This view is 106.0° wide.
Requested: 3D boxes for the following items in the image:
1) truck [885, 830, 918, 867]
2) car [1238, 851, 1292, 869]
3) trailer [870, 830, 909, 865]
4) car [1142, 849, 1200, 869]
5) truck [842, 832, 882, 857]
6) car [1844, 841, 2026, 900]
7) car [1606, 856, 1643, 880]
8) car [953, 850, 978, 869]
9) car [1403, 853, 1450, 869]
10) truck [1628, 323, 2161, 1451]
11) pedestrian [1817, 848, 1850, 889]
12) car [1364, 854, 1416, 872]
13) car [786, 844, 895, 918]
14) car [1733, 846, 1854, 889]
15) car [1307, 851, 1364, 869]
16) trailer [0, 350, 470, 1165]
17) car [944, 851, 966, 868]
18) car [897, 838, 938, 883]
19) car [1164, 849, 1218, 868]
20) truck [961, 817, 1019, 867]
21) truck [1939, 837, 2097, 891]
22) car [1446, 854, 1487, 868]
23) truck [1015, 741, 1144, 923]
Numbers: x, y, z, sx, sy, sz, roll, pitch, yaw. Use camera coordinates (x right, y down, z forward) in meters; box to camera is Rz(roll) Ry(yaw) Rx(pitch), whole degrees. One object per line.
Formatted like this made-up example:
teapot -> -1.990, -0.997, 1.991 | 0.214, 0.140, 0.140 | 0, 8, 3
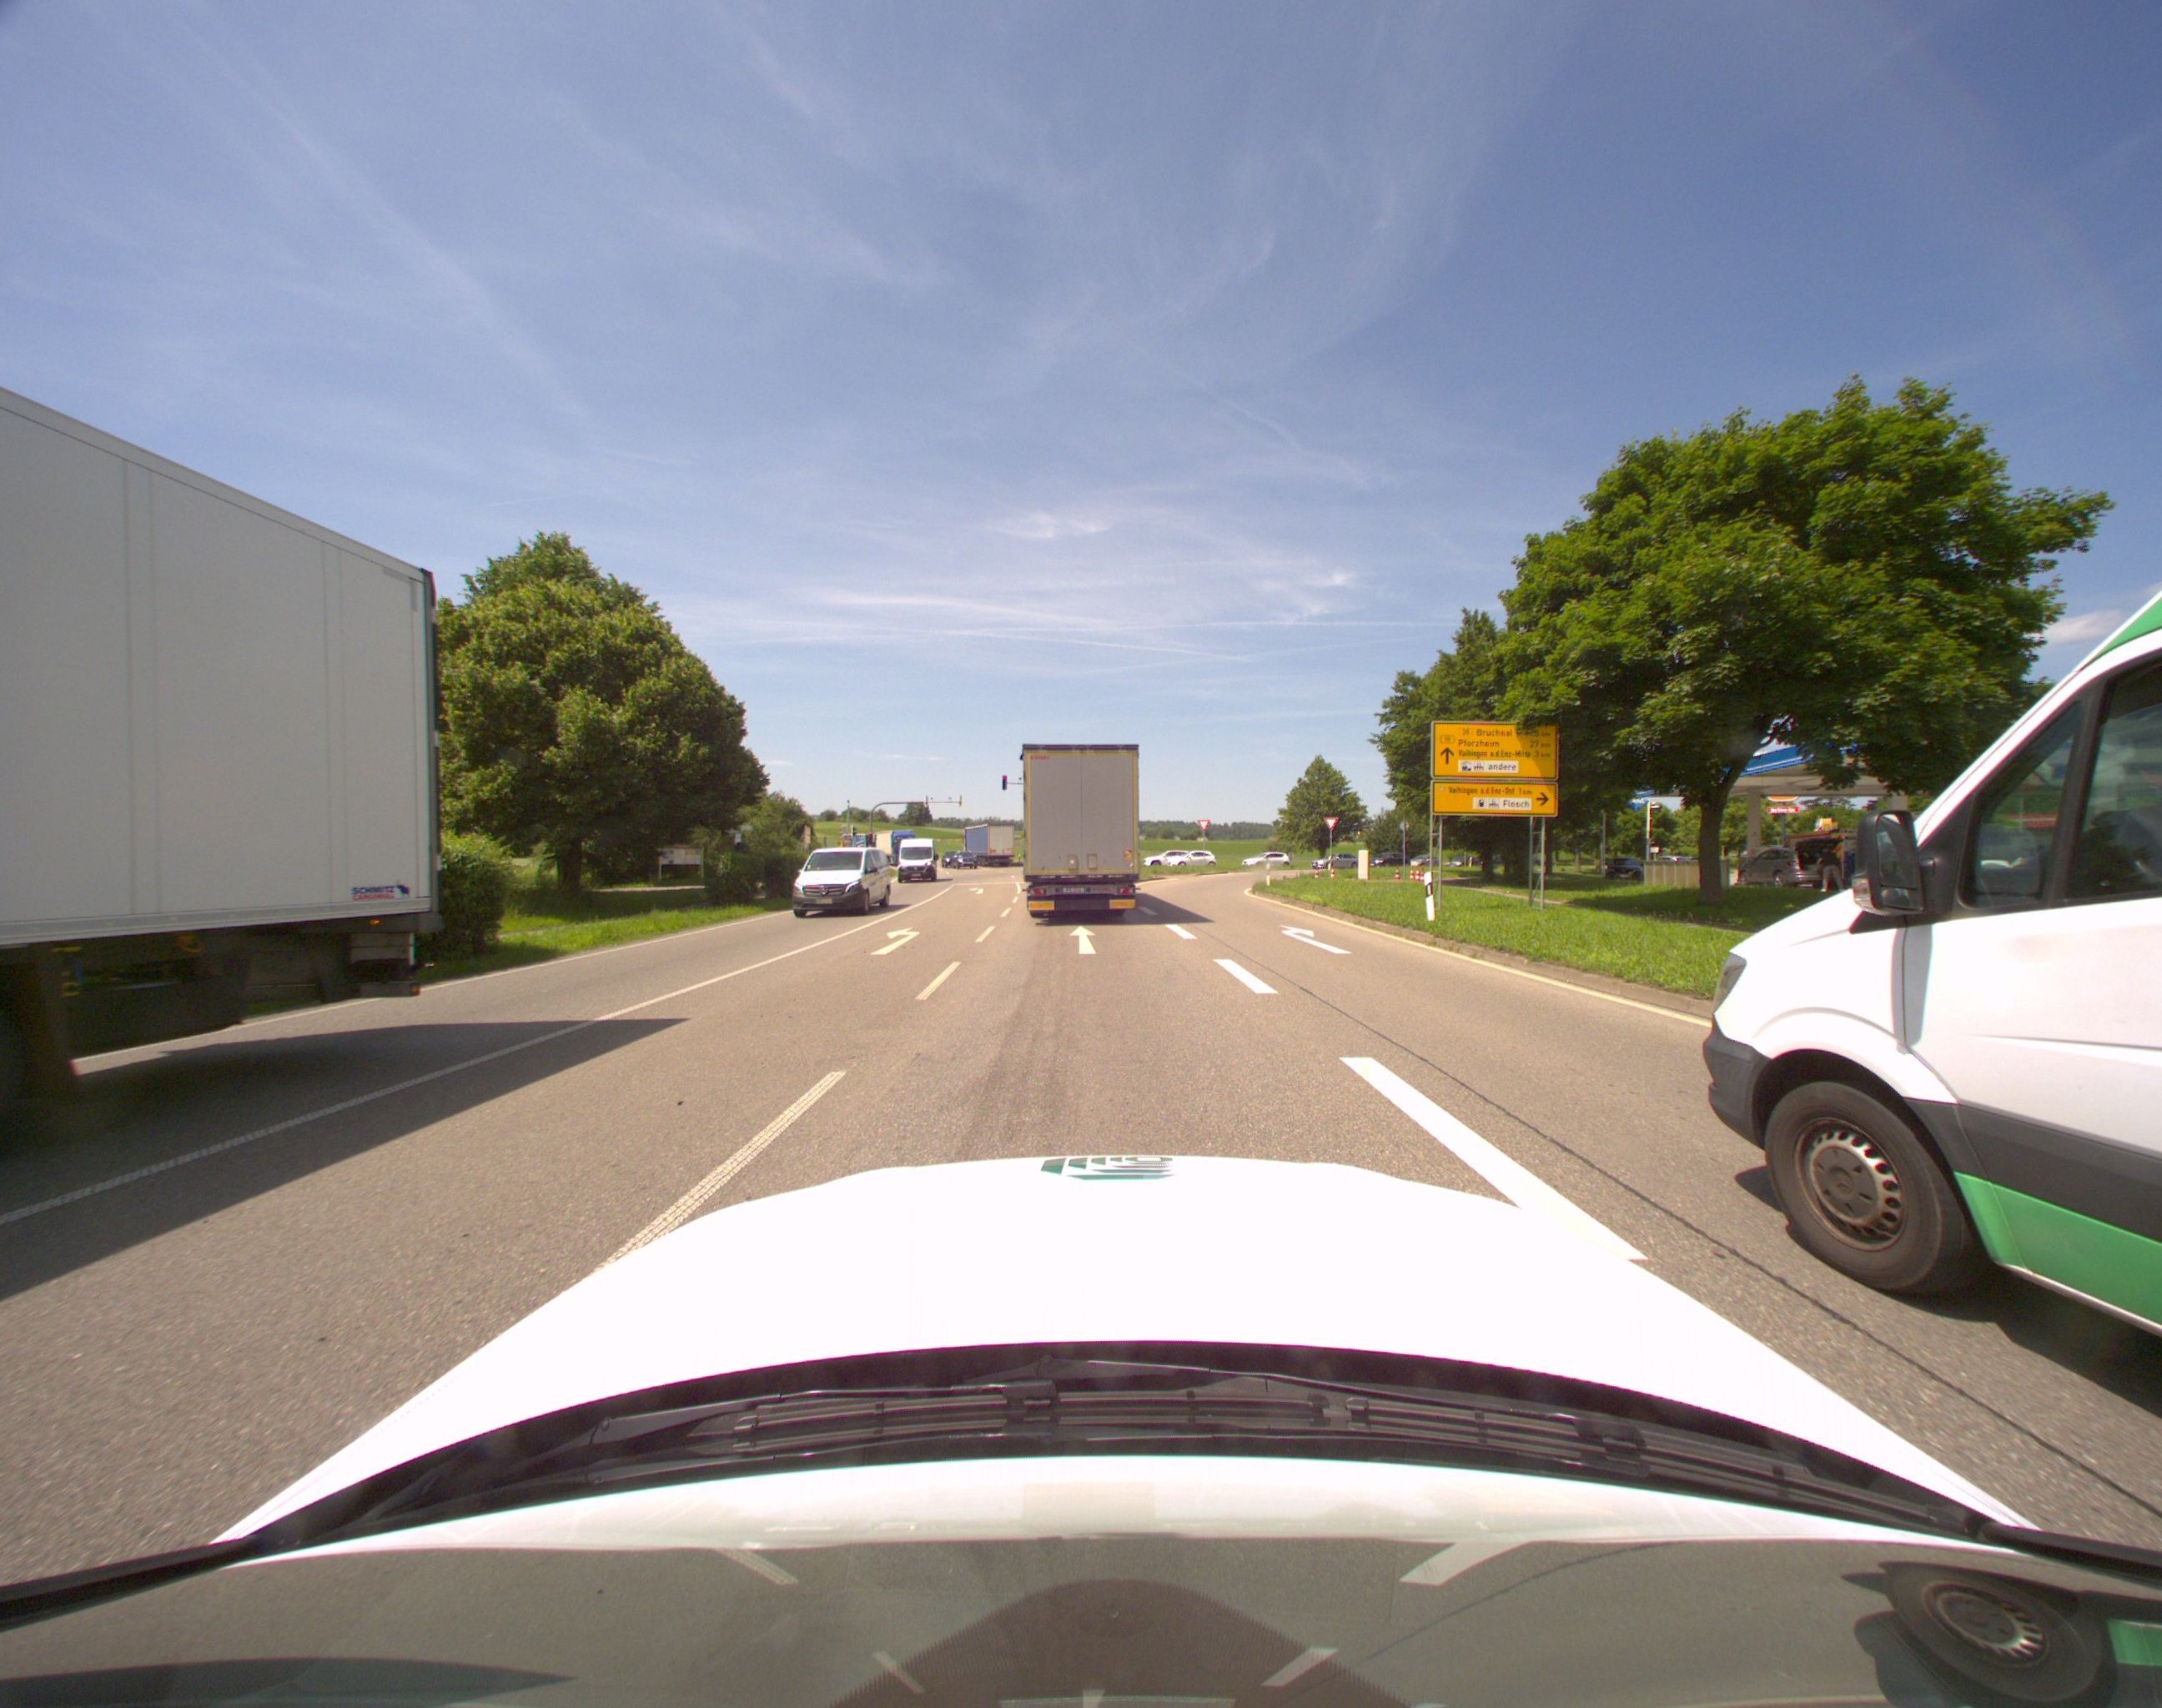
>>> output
truck -> -20.337, -0.647, 91.911 | 2.576, 4.029, 6.513 | -2, 1, -21
car -> 15.301, 0.489, 67.744 | 4.109, 1.419, 1.787 | -1, -1, -22
trailer -> -23.786, -0.757, 100.503 | 2.577, 4.029, 13.494 | -2, 1, -22
car -> 7.643, 0.451, 69.498 | 4.622, 1.607, 1.993 | 0, -2, -8
truck -> -40.762, -1.664, 151.170 | 3.553, 4.241, 13.269 | 0, -1, -32
car -> 25.941, 0.505, 25.005 | 1.977, 1.621, 4.653 | -1, -1, 20
car -> 32.929, 0.848, 49.399 | 1.737, 1.363, 4.348 | -1, -1, 33
car -> -10.566, 0.460, 74.058 | 1.774, 1.658, 3.980 | -1, 0, -15
car -> 32.324, 0.677, 76.155 | 4.577, 1.510, 1.783 | 0, -2, -32
truck -> 3.620, 0.067, 0.980 | 2.059, 2.737, 5.945 | 0, -1, 2
pedestrian -> 28.071, 0.552, 30.390 | 0.660, 1.497, 0.725 | -1, -1, 20
car -> 27.448, 0.831, 72.401 | 4.572, 1.510, 1.784 | 2, -2, -28
car -> -6.778, 0.683, 23.569 | 1.869, 1.865, 5.134 | -1, 0, -4
car -> 28.762, 0.539, 33.110 | 2.015, 1.603, 4.965 | -1, -1, 20
car -> 21.839, 0.537, 69.853 | 4.567, 1.510, 1.787 | 1, -2, -23
trailer -> -6.832, -0.478, 1.235 | 2.768, 4.102, 11.660 | -3, -1, 1
car -> -12.429, 0.528, 79.971 | 1.774, 1.658, 3.981 | -1, 0, -14
car -> -9.423, 0.345, 47.400 | 2.051, 2.452, 5.252 | -2, 0, -9
car -> 8.834, 0.359, 65.556 | 3.960, 1.419, 1.821 | -1, -1, -11
truck -> -9.589, -1.158, 83.510 | 2.968, 4.584, 16.222 | -1, 0, -17
truck -> 37.341, 0.416, 32.676 | 1.977, 2.014, 4.835 | -1, -1, 19
car -> 37.972, 0.695, 80.153 | 4.582, 1.273, 1.781 | 1, -2, -37
truck -> -0.286, -0.462, 22.536 | 2.802, 3.946, 9.579 | 0, 0, -3
